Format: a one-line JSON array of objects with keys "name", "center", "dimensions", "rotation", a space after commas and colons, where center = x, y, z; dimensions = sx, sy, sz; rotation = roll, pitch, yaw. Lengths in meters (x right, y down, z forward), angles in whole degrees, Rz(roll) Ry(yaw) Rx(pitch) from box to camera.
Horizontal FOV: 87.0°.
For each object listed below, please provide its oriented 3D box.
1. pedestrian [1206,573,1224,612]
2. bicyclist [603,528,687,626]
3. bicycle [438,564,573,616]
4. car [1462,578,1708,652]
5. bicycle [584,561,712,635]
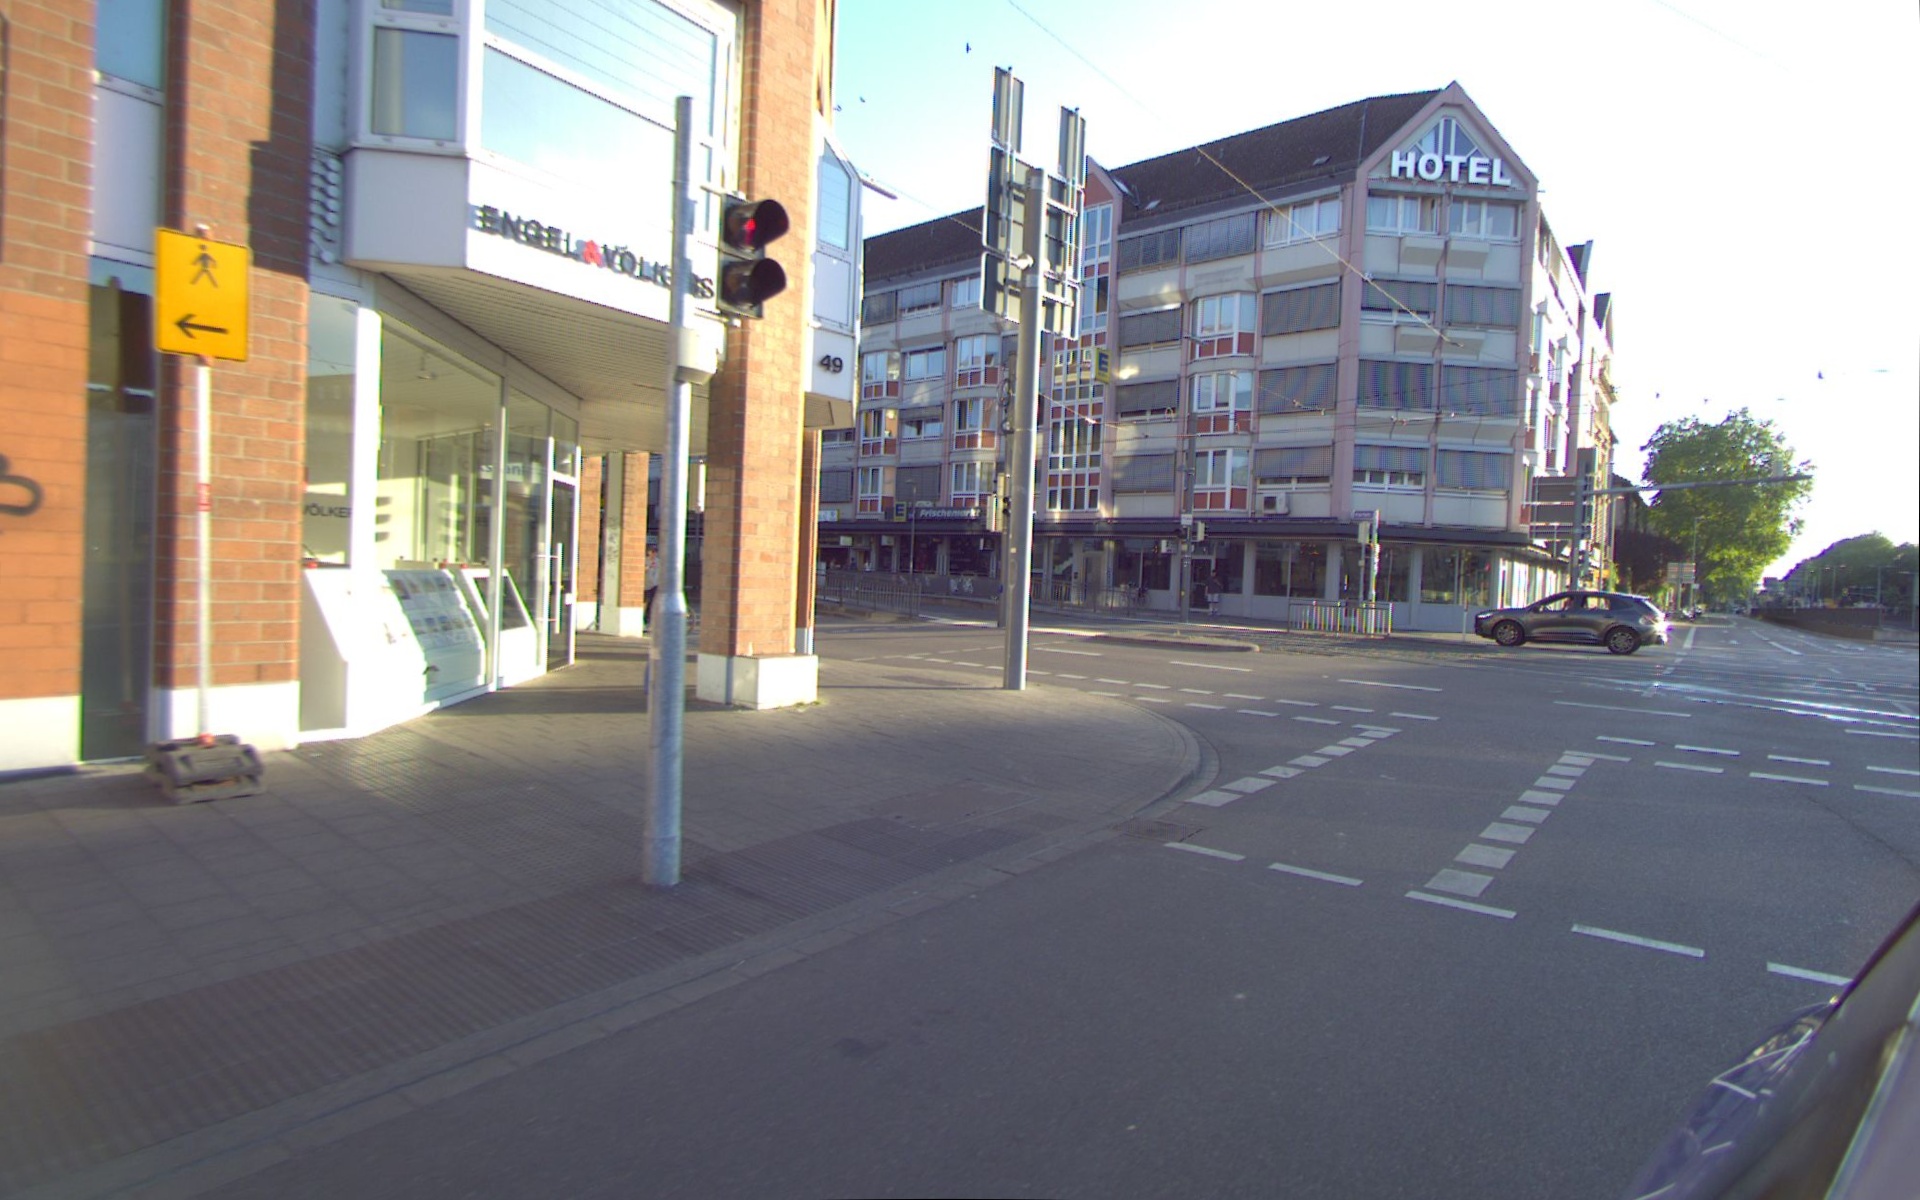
[{"name": "pedestrian", "center": [10.072, -0.297, 40.003], "dimensions": [0.467, 1.511, 0.473], "rotation": [2, 1, -15]}, {"name": "bicyclist", "center": [-6.369, -0.462, 20.444], "dimensions": [1.228, 1.885, 1.000], "rotation": [3, -2, 39]}, {"name": "bicycle", "center": [-10.280, -0.228, 23.017], "dimensions": [0.810, 1.116, 2.697], "rotation": [3, 2, 42]}, {"name": "car", "center": [17.083, 0.353, 27.894], "dimensions": [5.545, 1.648, 2.005], "rotation": [4, 2, 36]}, {"name": "bicycle", "center": [-6.296, -0.061, 20.349], "dimensions": [2.783, 1.308, 1.003], "rotation": [3, -2, 39]}]
